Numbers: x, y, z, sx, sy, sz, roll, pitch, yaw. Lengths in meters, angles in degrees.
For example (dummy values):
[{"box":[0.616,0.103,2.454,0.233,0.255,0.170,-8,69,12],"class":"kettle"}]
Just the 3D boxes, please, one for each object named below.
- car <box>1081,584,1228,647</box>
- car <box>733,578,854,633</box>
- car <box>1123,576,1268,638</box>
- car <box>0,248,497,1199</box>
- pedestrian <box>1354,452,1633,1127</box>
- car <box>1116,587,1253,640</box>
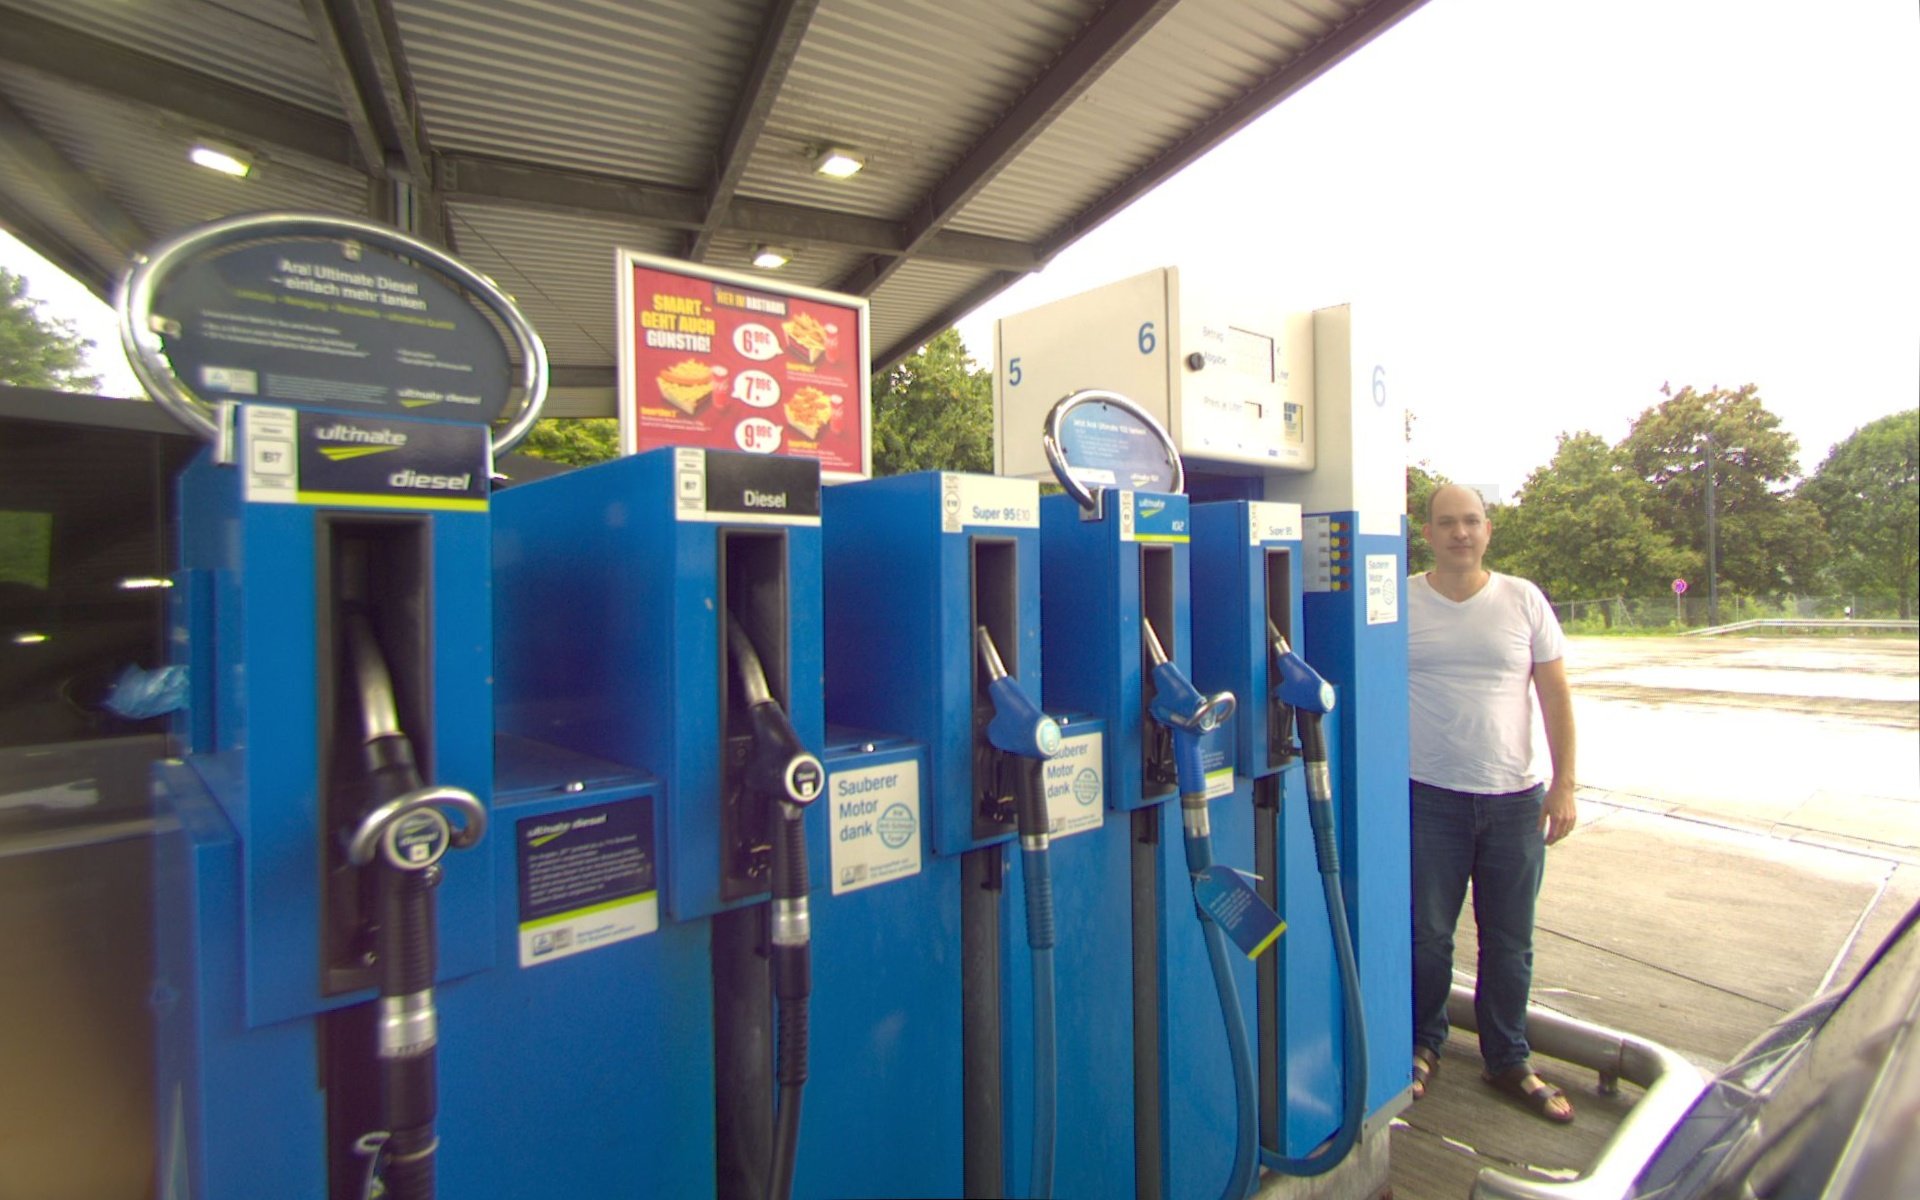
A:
[{"box":[5.805,0.418,30.017,4.123,1.752,1.990,0,0,17],"class":"car"},{"box":[-5.556,0.149,33.470,1.967,1.683,4.170,0,0,-44],"class":"car"},{"box":[7.994,0.197,34.567,4.700,2.011,2.007,0,0,14],"class":"car"},{"box":[-3.025,0.422,1.482,3.930,1.973,1.819,0,0,-41],"class":"car"},{"box":[1.572,0.514,3.063,0.625,1.832,0.492,-1,1,15],"class":"pedestrian"},{"box":[7.160,0.400,32.223,4.123,1.576,1.990,0,0,17],"class":"car"}]
